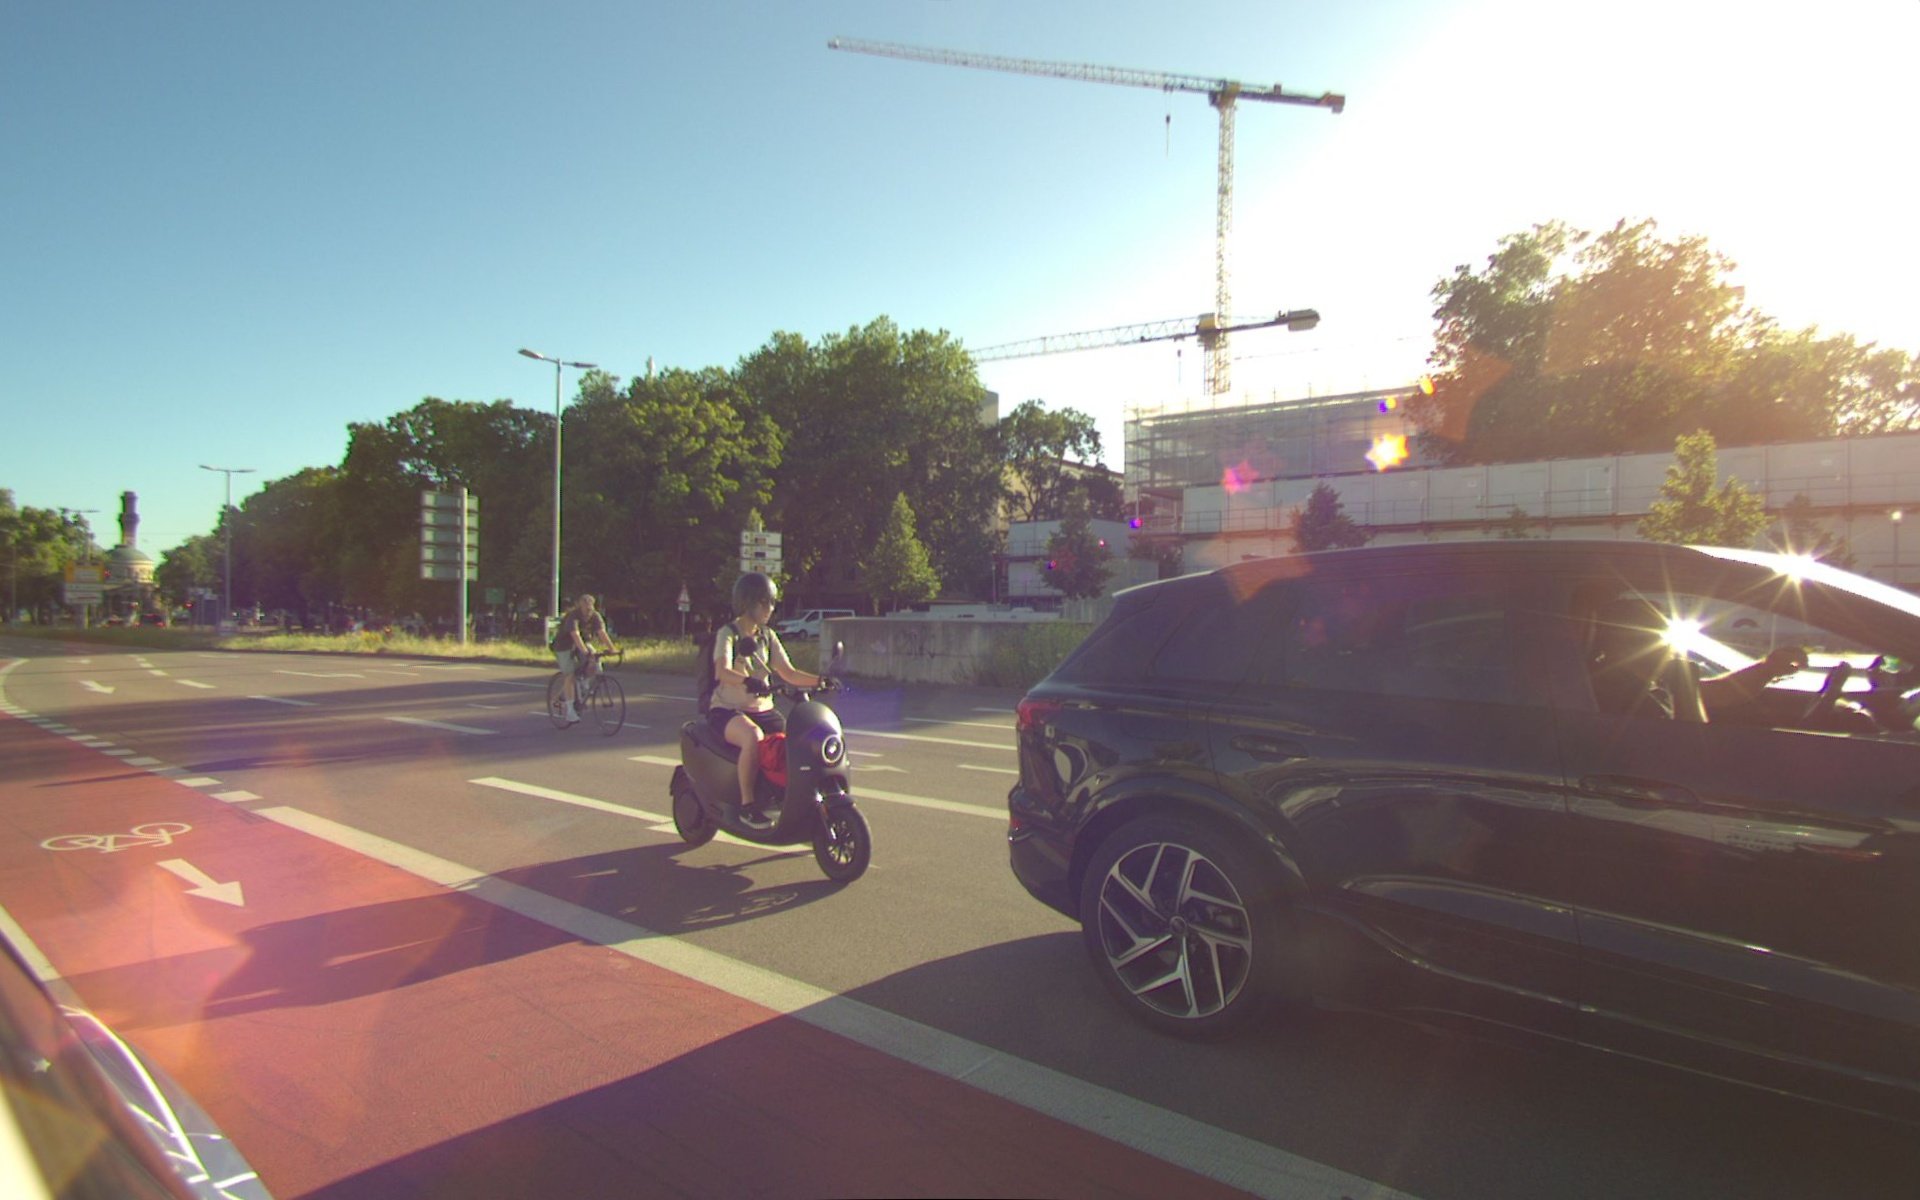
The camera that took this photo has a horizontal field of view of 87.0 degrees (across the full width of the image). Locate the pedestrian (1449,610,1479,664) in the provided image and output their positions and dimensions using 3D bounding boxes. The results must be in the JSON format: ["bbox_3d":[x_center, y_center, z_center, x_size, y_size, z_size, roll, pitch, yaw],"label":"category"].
[{"bbox_3d":[15.983,1.163,32.118,0.654,1.693,0.829,-1,-2,41],"label":"pedestrian"}]

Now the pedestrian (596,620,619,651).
[{"bbox_3d":[-21.438,2.150,61.564,0.964,1.796,0.984,-1,0,41],"label":"pedestrian"}]

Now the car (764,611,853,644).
[{"bbox_3d":[-9.188,1.665,61.685,2.000,1.906,5.255,-2,-2,42],"label":"car"}]

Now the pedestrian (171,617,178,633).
[{"bbox_3d":[-96.565,3.066,124.430,0.594,2.029,0.519,-1,-2,38],"label":"pedestrian"}]

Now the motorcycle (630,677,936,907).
[{"bbox_3d":[-1.081,0.991,5.796,0.746,0.976,1.961,0,-1,-45],"label":"motorcycle"}]

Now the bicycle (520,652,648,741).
[{"bbox_3d":[-4.488,1.110,12.016,1.910,0.915,0.616,-1,-1,42],"label":"bicycle"}]

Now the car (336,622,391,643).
[{"bbox_3d":[-34.480,1.866,58.473,3.767,1.141,1.598,-1,-1,40],"label":"car"}]

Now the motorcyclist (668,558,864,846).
[{"bbox_3d":[-1.129,0.537,5.846,0.746,1.495,0.882,0,-1,-45],"label":"motorcyclist"}]

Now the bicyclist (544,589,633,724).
[{"bbox_3d":[-4.382,0.645,11.925,0.937,1.514,0.616,-1,-1,42],"label":"bicyclist"}]

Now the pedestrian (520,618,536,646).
[{"bbox_3d":[-27.698,2.049,64.878,0.697,1.740,0.656,-1,-2,41],"label":"pedestrian"}]

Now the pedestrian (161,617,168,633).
[{"bbox_3d":[-97.178,3.071,123.682,0.594,2.029,0.519,-1,-2,38],"label":"pedestrian"}]

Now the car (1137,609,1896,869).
[{"bbox_3d":[3.735,0.758,7.465,4.522,1.362,1.753,-1,-1,40],"label":"car"}]

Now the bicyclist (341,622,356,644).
[{"bbox_3d":[-38.571,2.086,63.847,0.768,1.377,0.609,-1,-2,41],"label":"bicyclist"}]

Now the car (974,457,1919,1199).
[{"bbox_3d":[2.584,0.550,3.139,4.786,1.675,2.172,-1,-2,39],"label":"car"}]
